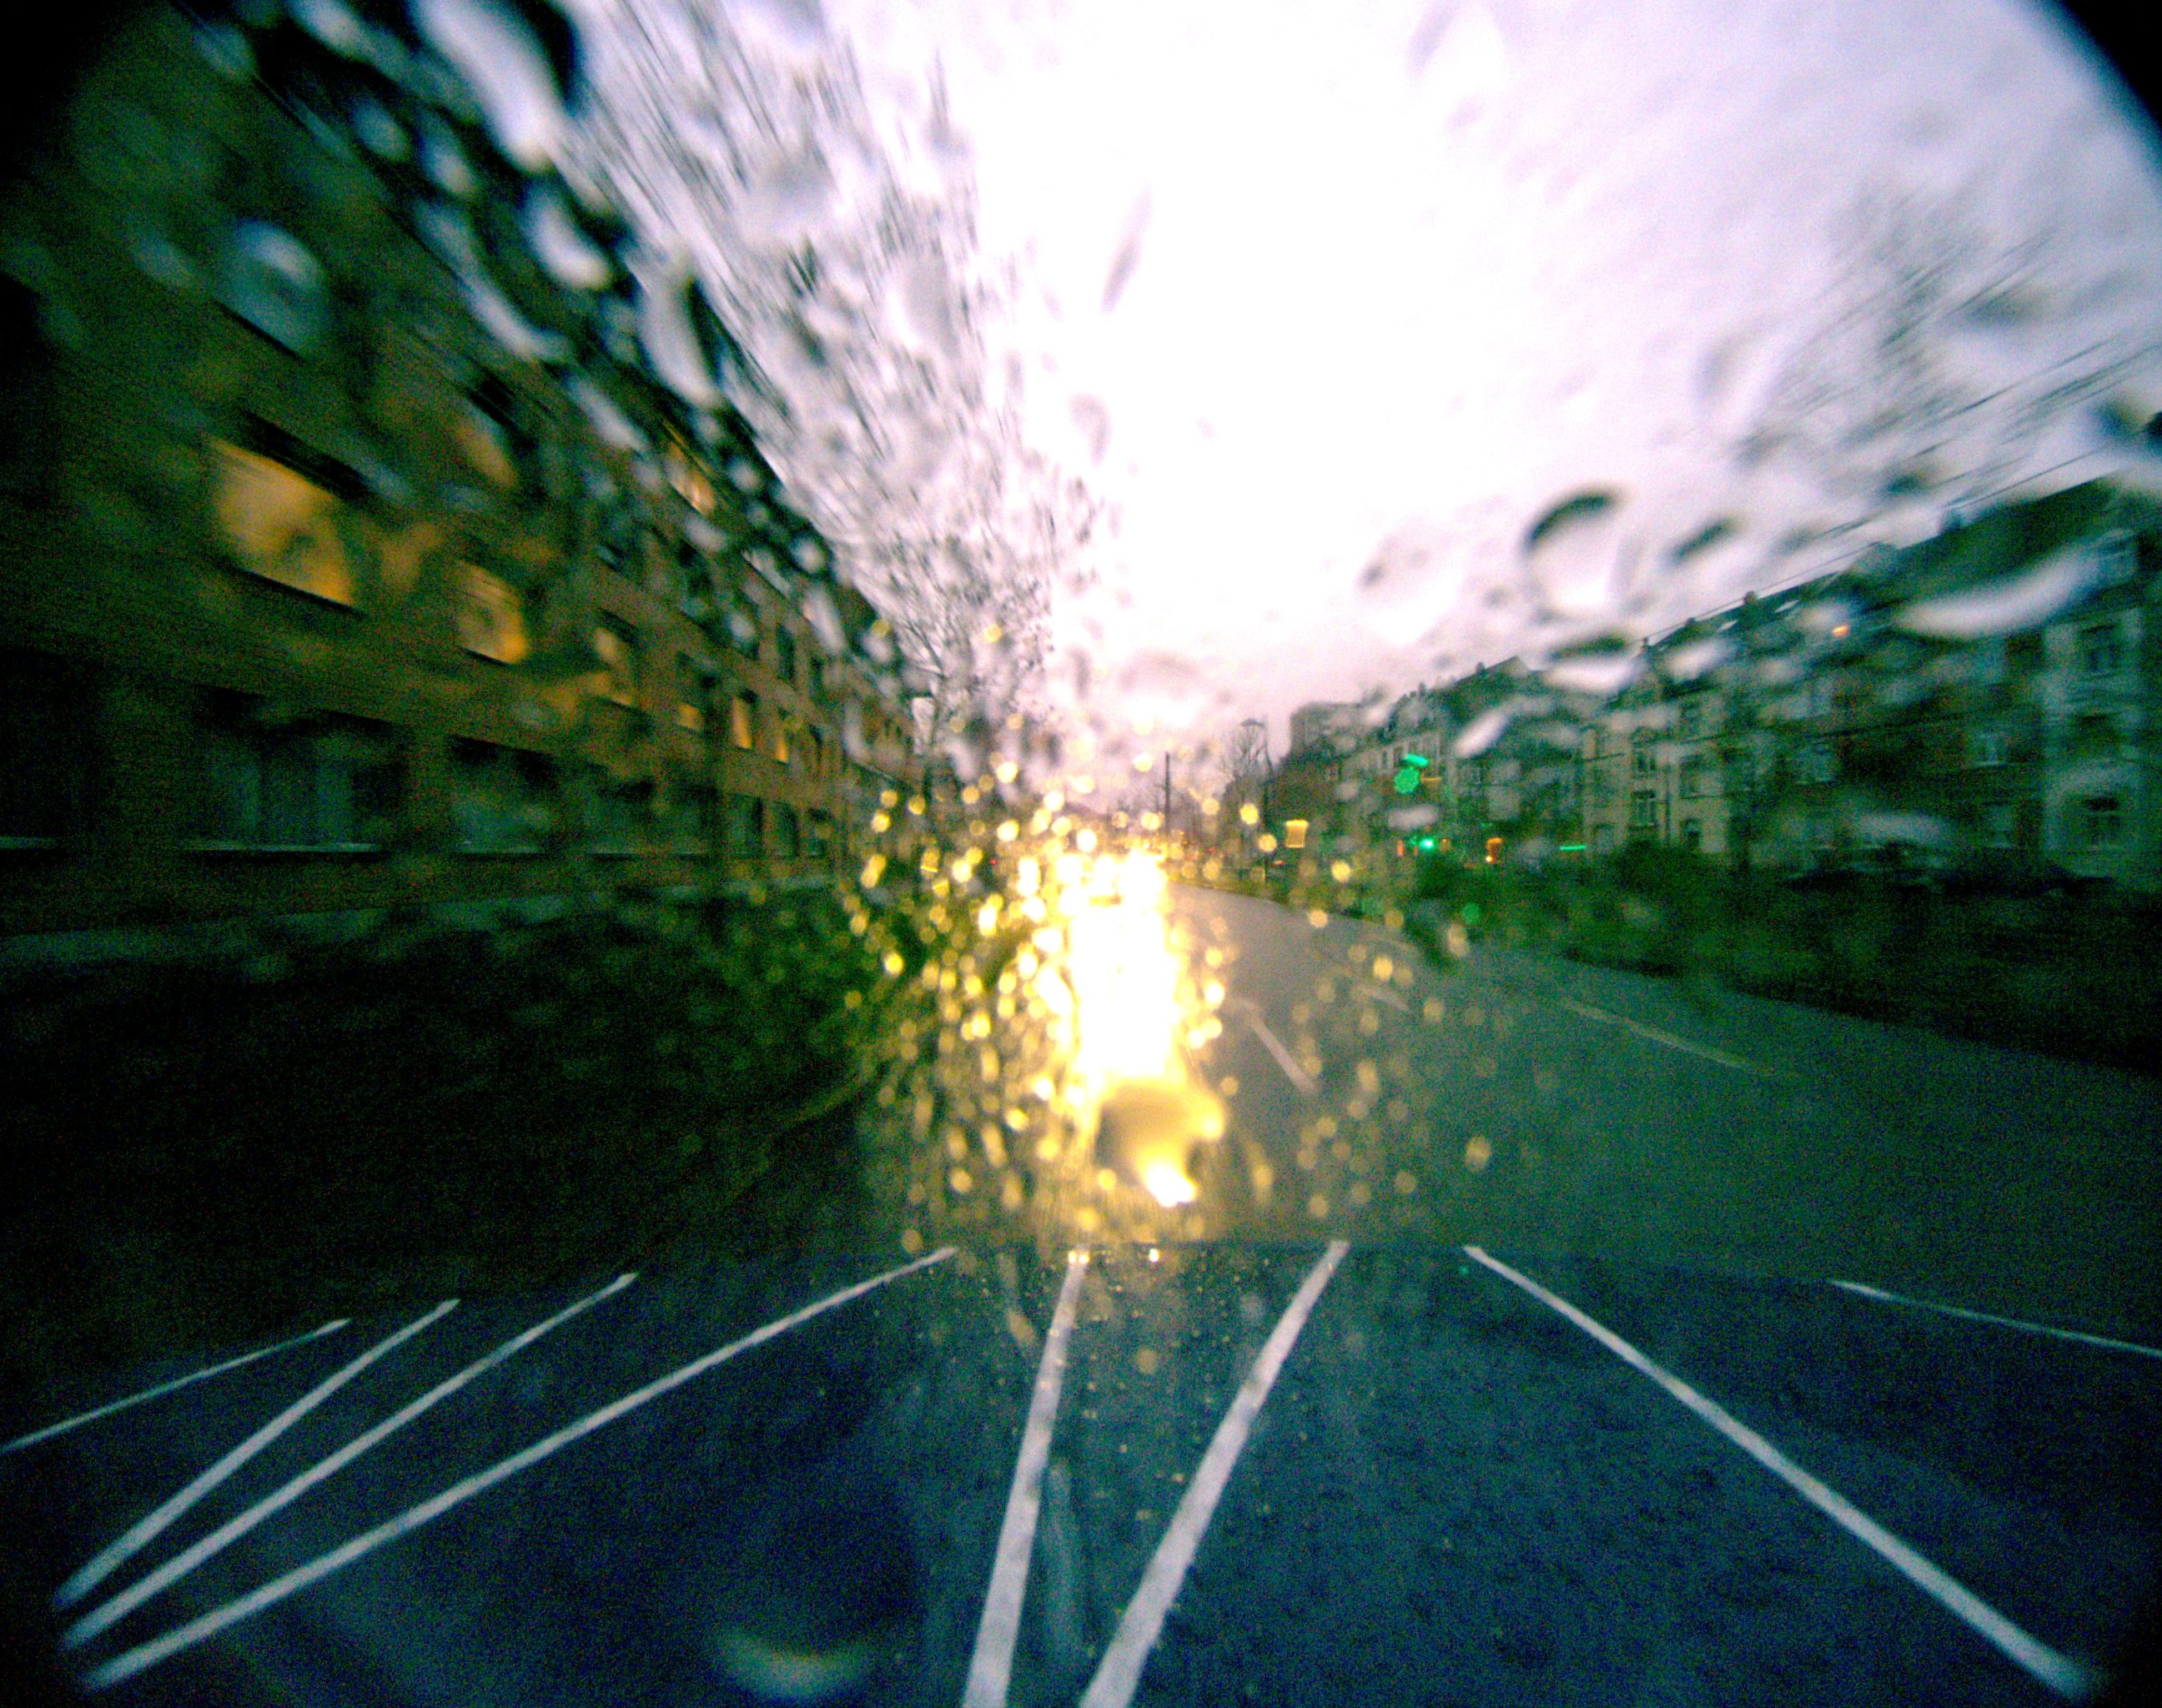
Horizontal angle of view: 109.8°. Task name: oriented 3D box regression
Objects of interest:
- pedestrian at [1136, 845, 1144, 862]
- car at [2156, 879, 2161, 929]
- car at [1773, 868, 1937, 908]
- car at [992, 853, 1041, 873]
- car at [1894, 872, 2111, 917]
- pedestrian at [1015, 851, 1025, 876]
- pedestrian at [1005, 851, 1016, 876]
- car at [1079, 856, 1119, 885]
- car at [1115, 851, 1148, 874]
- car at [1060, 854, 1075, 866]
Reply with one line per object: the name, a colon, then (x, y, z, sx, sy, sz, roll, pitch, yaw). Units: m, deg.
pedestrian: (6.970, -0.046, 90.073, 0.877, 2.002, 0.931, 2, 1, 9)
car: (30.359, 1.368, 18.731, 3.988, 1.324, 2.004, 1, 0, 34)
car: (29.072, 1.232, 28.739, 3.988, 1.324, 2.004, 1, 0, 34)
car: (-5.490, 0.734, 64.901, 3.997, 1.546, 1.742, 2, 0, -1)
car: (28.865, 1.222, 24.041, 3.988, 1.162, 2.004, 1, 0, 36)
pedestrian: (-4.491, 0.664, 55.874, 0.506, 1.814, 0.656, 1, 1, -28)
pedestrian: (-4.985, 0.659, 53.571, 0.506, 1.732, 0.656, 1, 1, -35)
car: (0.896, 0.810, 39.286, 1.814, 1.384, 4.052, -1, 0, -2)
car: (3.331, 0.555, 50.978, 1.814, 1.487, 4.052, -1, 0, -2)
car: (-1.953, 0.814, 105.593, 1.999, 1.693, 3.999, 1, 0, -2)
